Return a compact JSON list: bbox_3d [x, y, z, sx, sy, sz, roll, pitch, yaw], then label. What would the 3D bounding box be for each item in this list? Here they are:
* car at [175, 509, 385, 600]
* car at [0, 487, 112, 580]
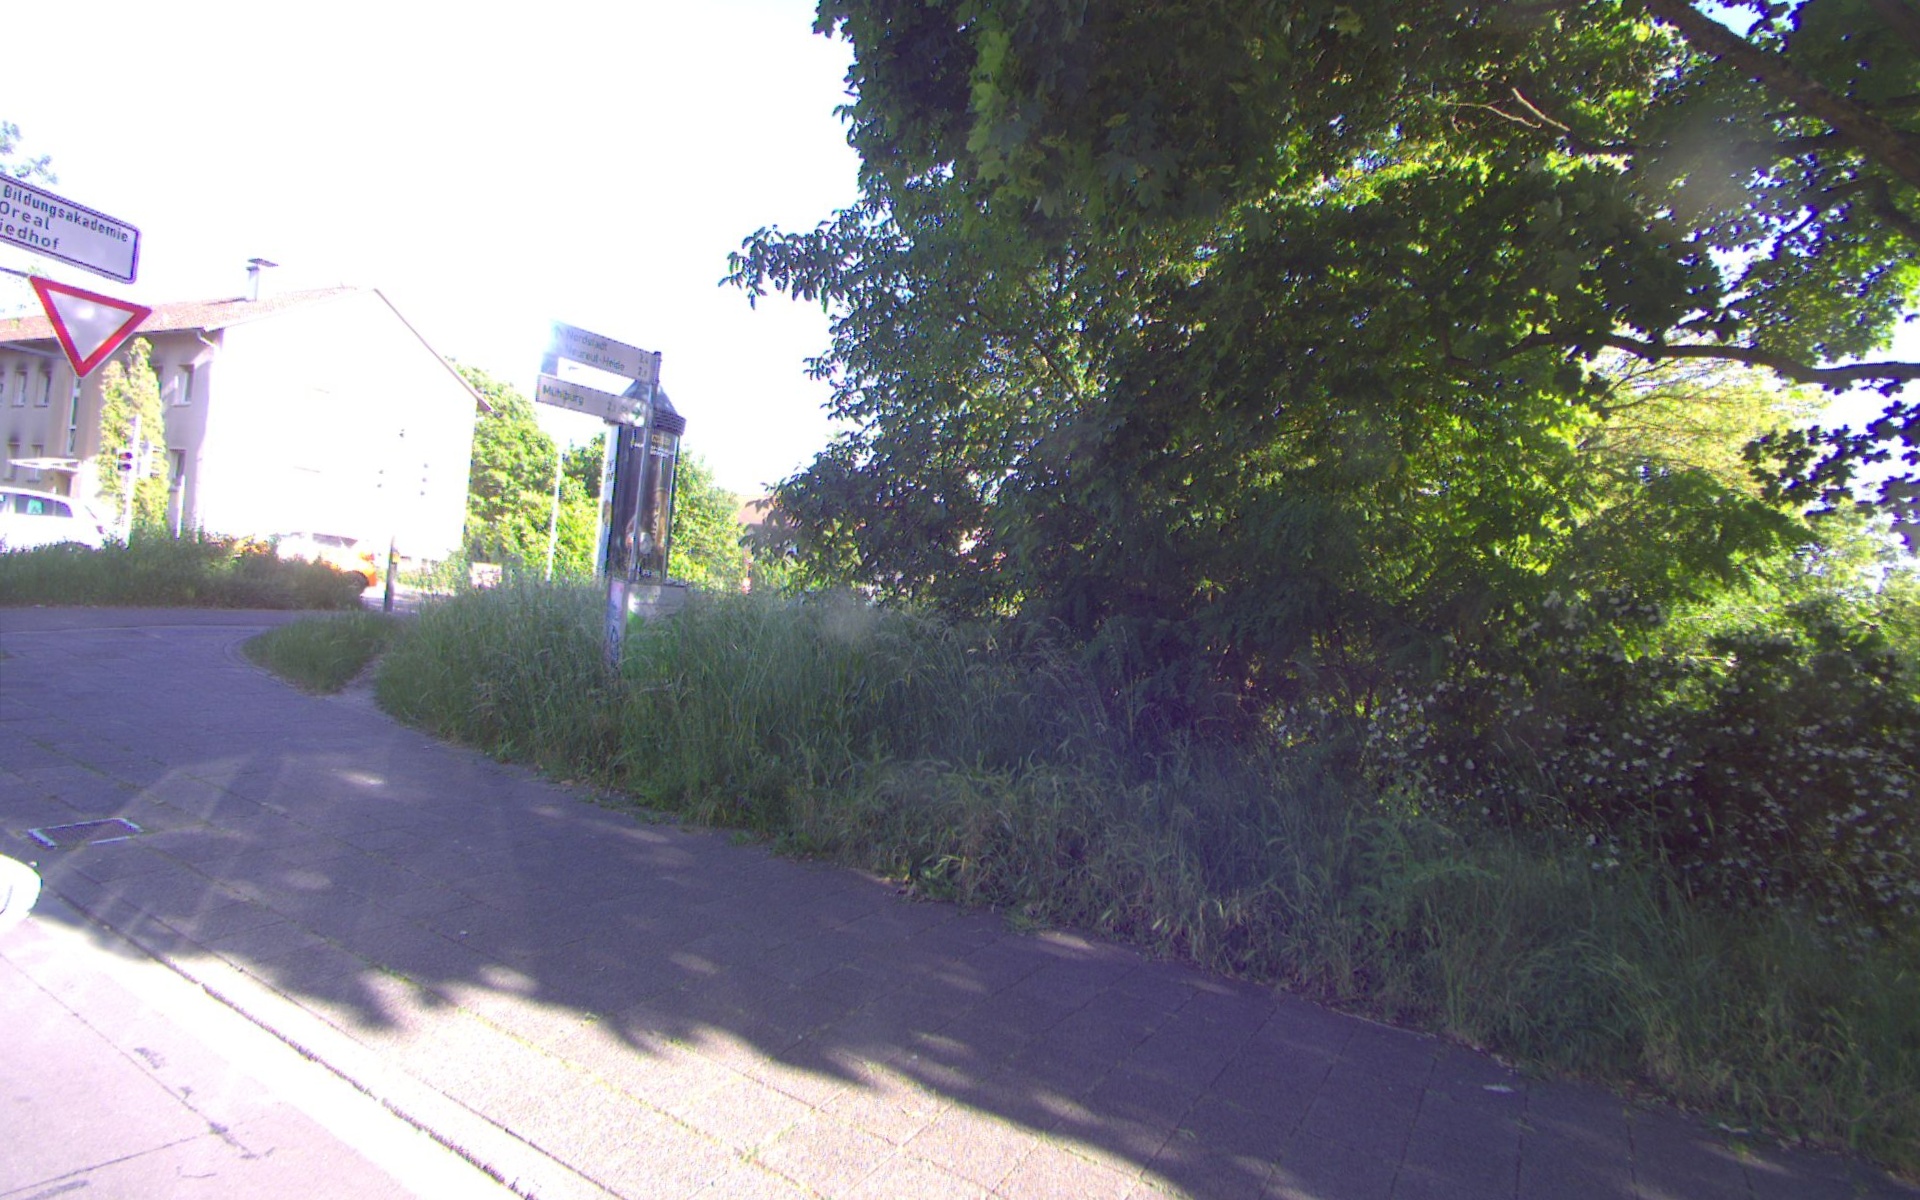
[{"bbox_3d":[-16.733,-1.089,24.869,3.977,1.601,1.736,9,-3,-43],"label":"car"},{"bbox_3d":[-19.249,-1.483,19.293,1.727,1.581,4.117,6,-2,29],"label":"car"}]
